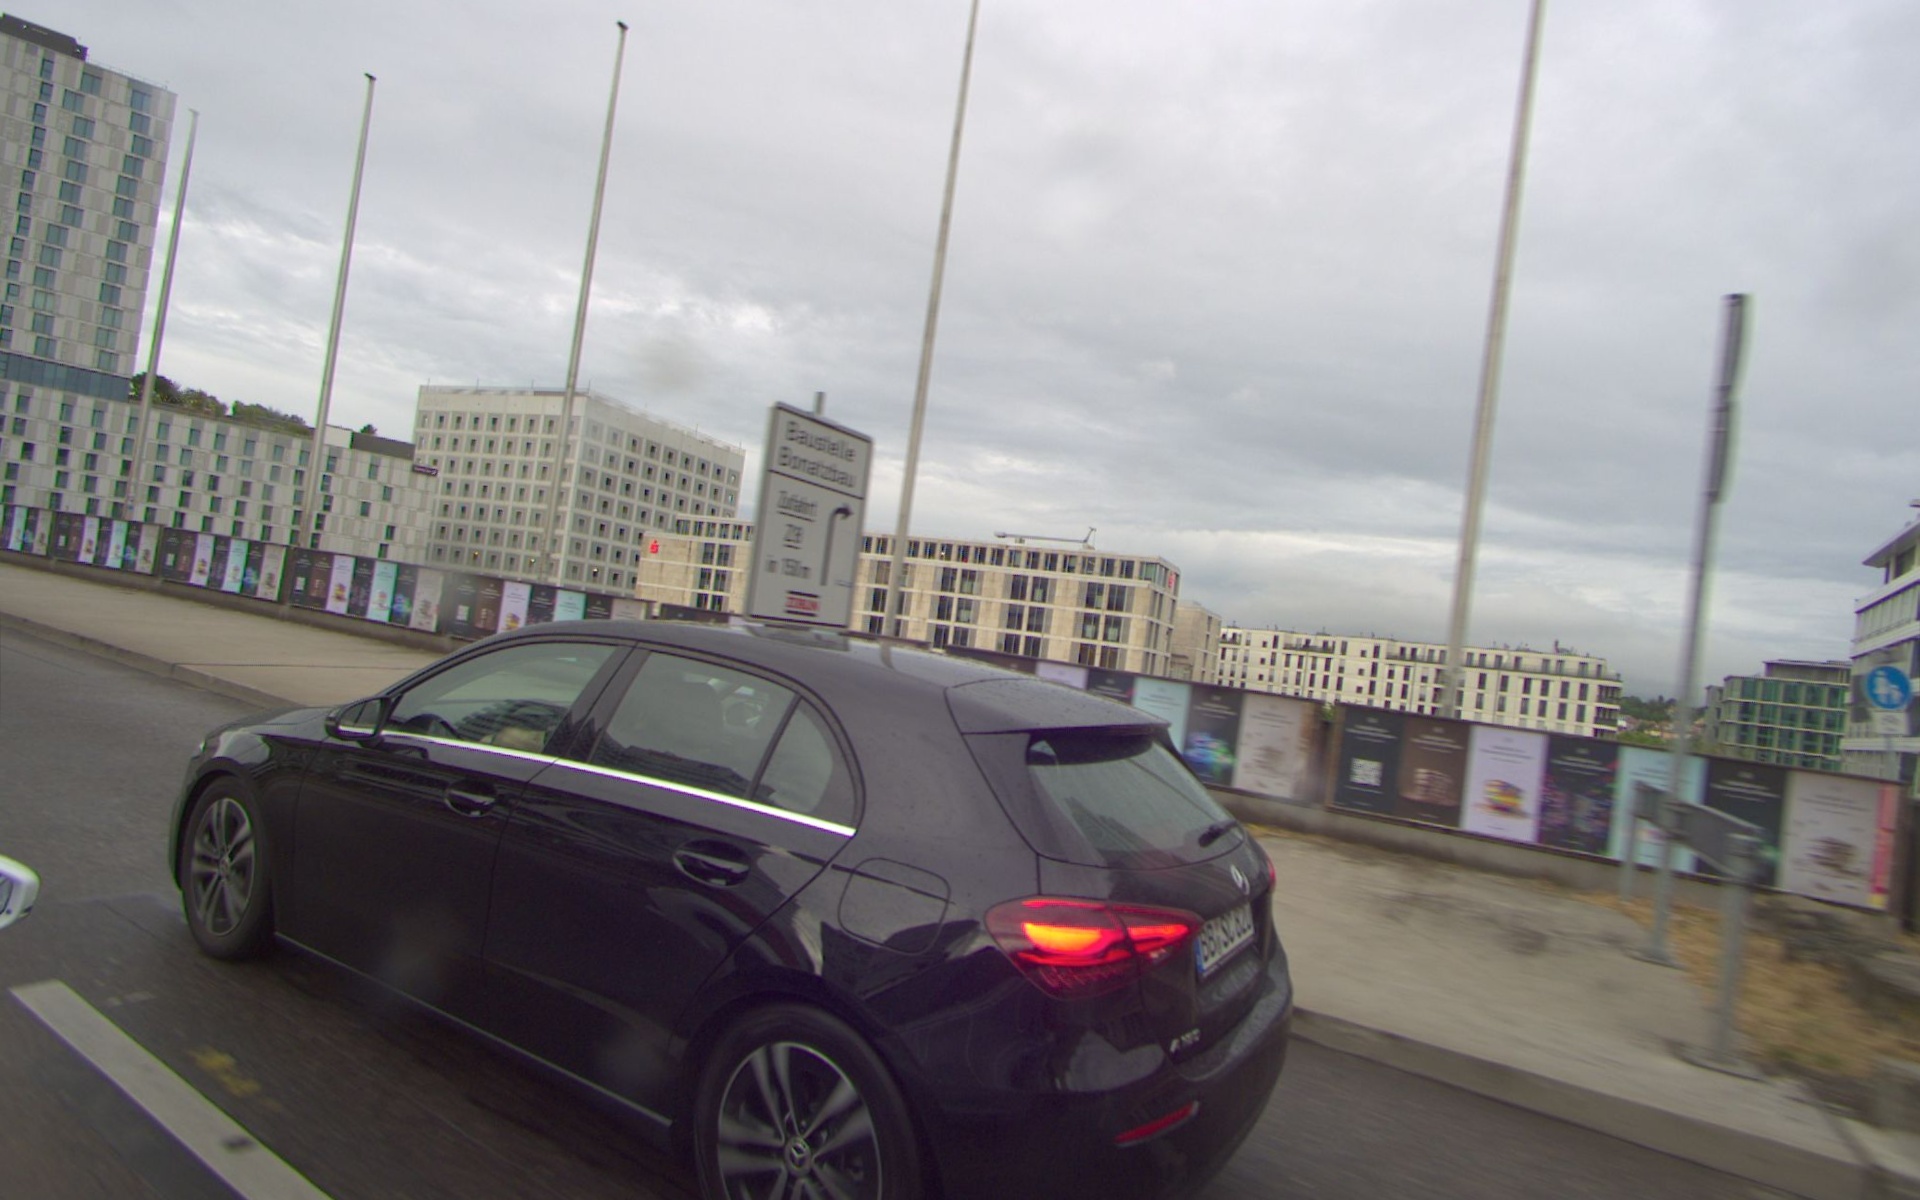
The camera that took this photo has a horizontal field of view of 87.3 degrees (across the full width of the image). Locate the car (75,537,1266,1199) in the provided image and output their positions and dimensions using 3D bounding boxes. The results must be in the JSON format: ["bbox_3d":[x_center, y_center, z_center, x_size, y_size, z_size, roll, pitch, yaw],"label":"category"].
[{"bbox_3d":[-1.234,0.694,3.642,4.086,1.392,1.726,6,-2,31],"label":"car"}]
